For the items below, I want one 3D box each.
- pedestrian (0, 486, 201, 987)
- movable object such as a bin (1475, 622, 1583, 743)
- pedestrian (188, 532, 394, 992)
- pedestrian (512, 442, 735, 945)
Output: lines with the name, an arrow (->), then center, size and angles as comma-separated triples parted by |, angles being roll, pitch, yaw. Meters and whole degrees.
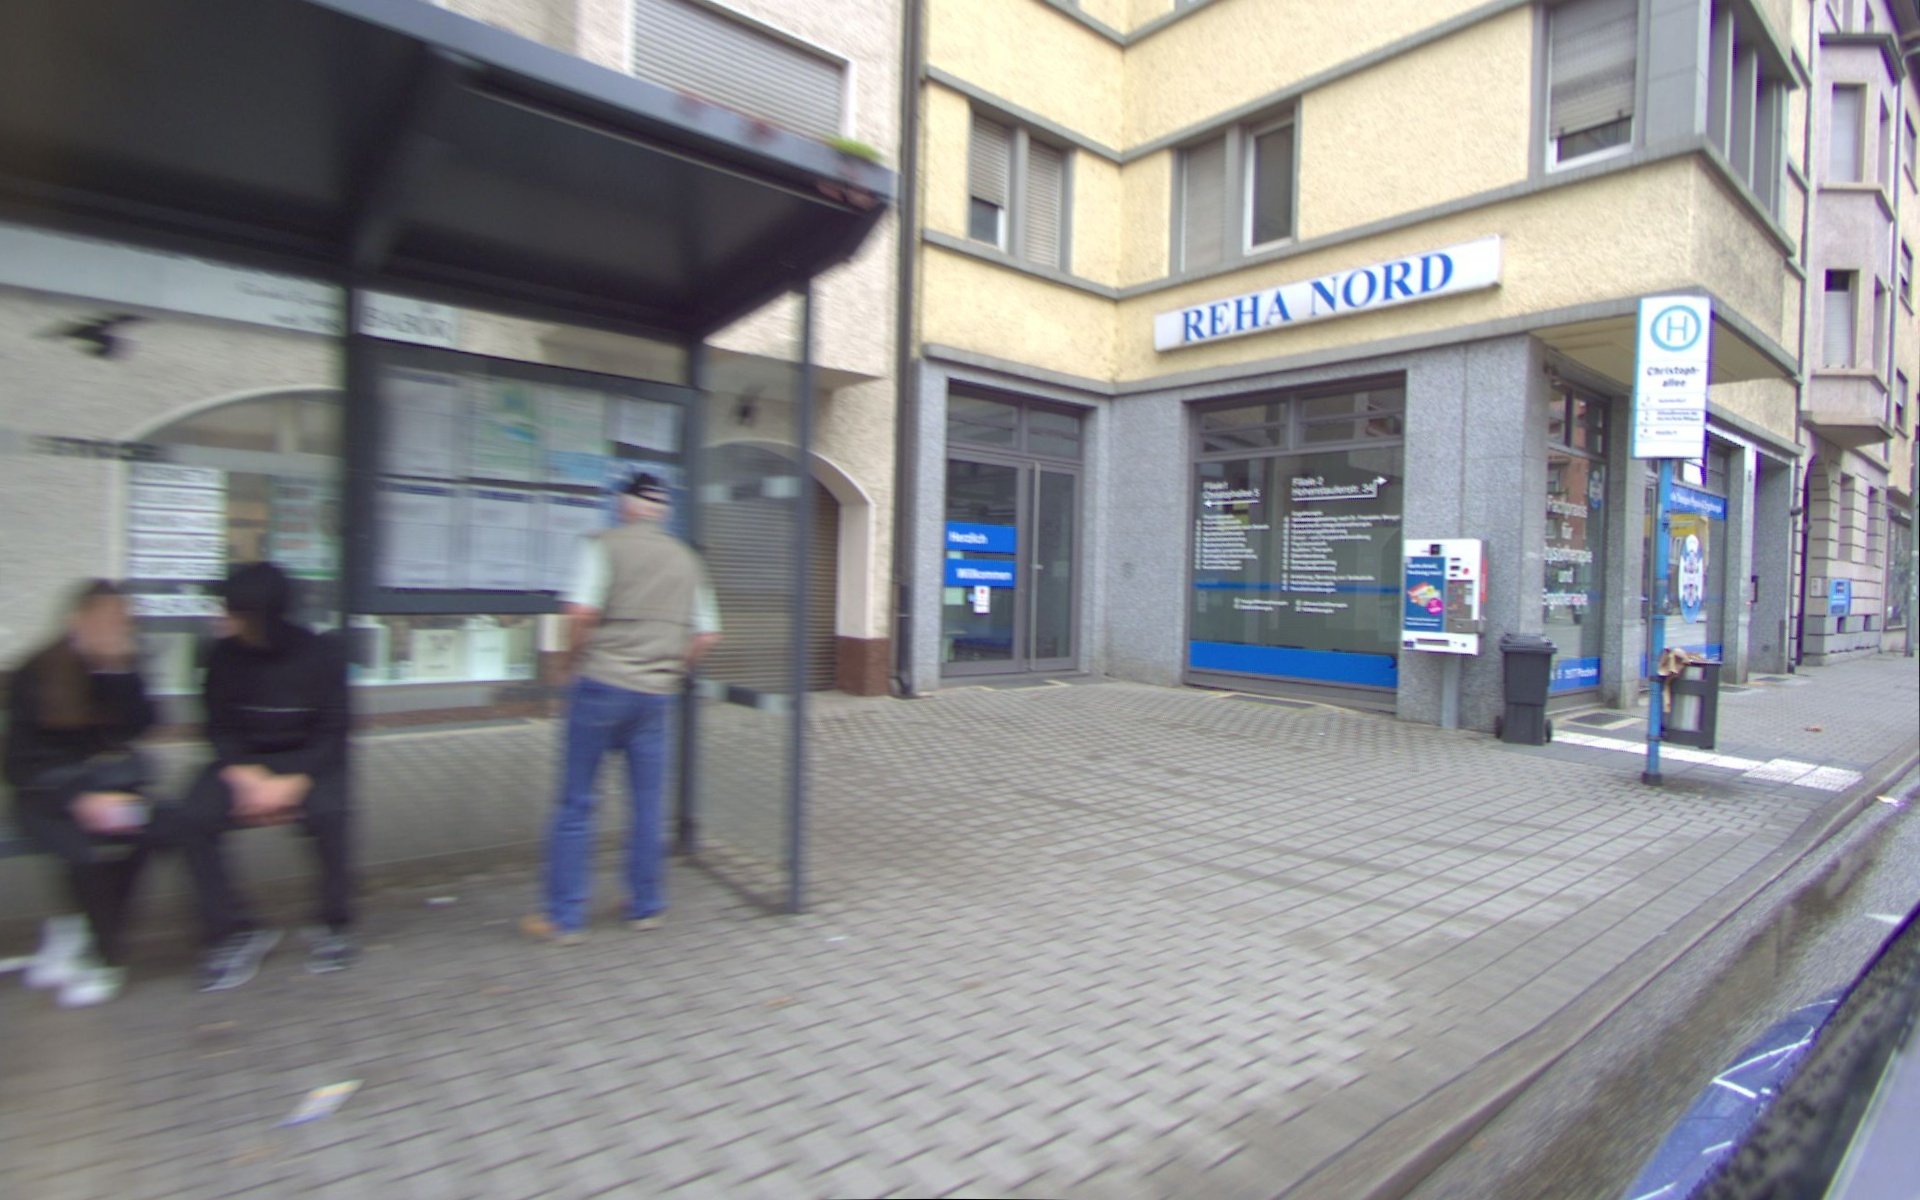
pedestrian -> -2.675, 0.362, 3.048 | 0.586, 1.366, 0.535 | 0, 2, -42
movable object such as a bin -> 4.929, 0.688, 8.766 | 0.692, 0.937, 0.601 | 0, 2, -41
pedestrian -> -2.306, 0.485, 3.480 | 0.505, 1.414, 0.564 | 0, 2, -43
pedestrian -> -1.305, 0.309, 3.900 | 0.644, 1.720, 0.621 | 0, 2, -36
